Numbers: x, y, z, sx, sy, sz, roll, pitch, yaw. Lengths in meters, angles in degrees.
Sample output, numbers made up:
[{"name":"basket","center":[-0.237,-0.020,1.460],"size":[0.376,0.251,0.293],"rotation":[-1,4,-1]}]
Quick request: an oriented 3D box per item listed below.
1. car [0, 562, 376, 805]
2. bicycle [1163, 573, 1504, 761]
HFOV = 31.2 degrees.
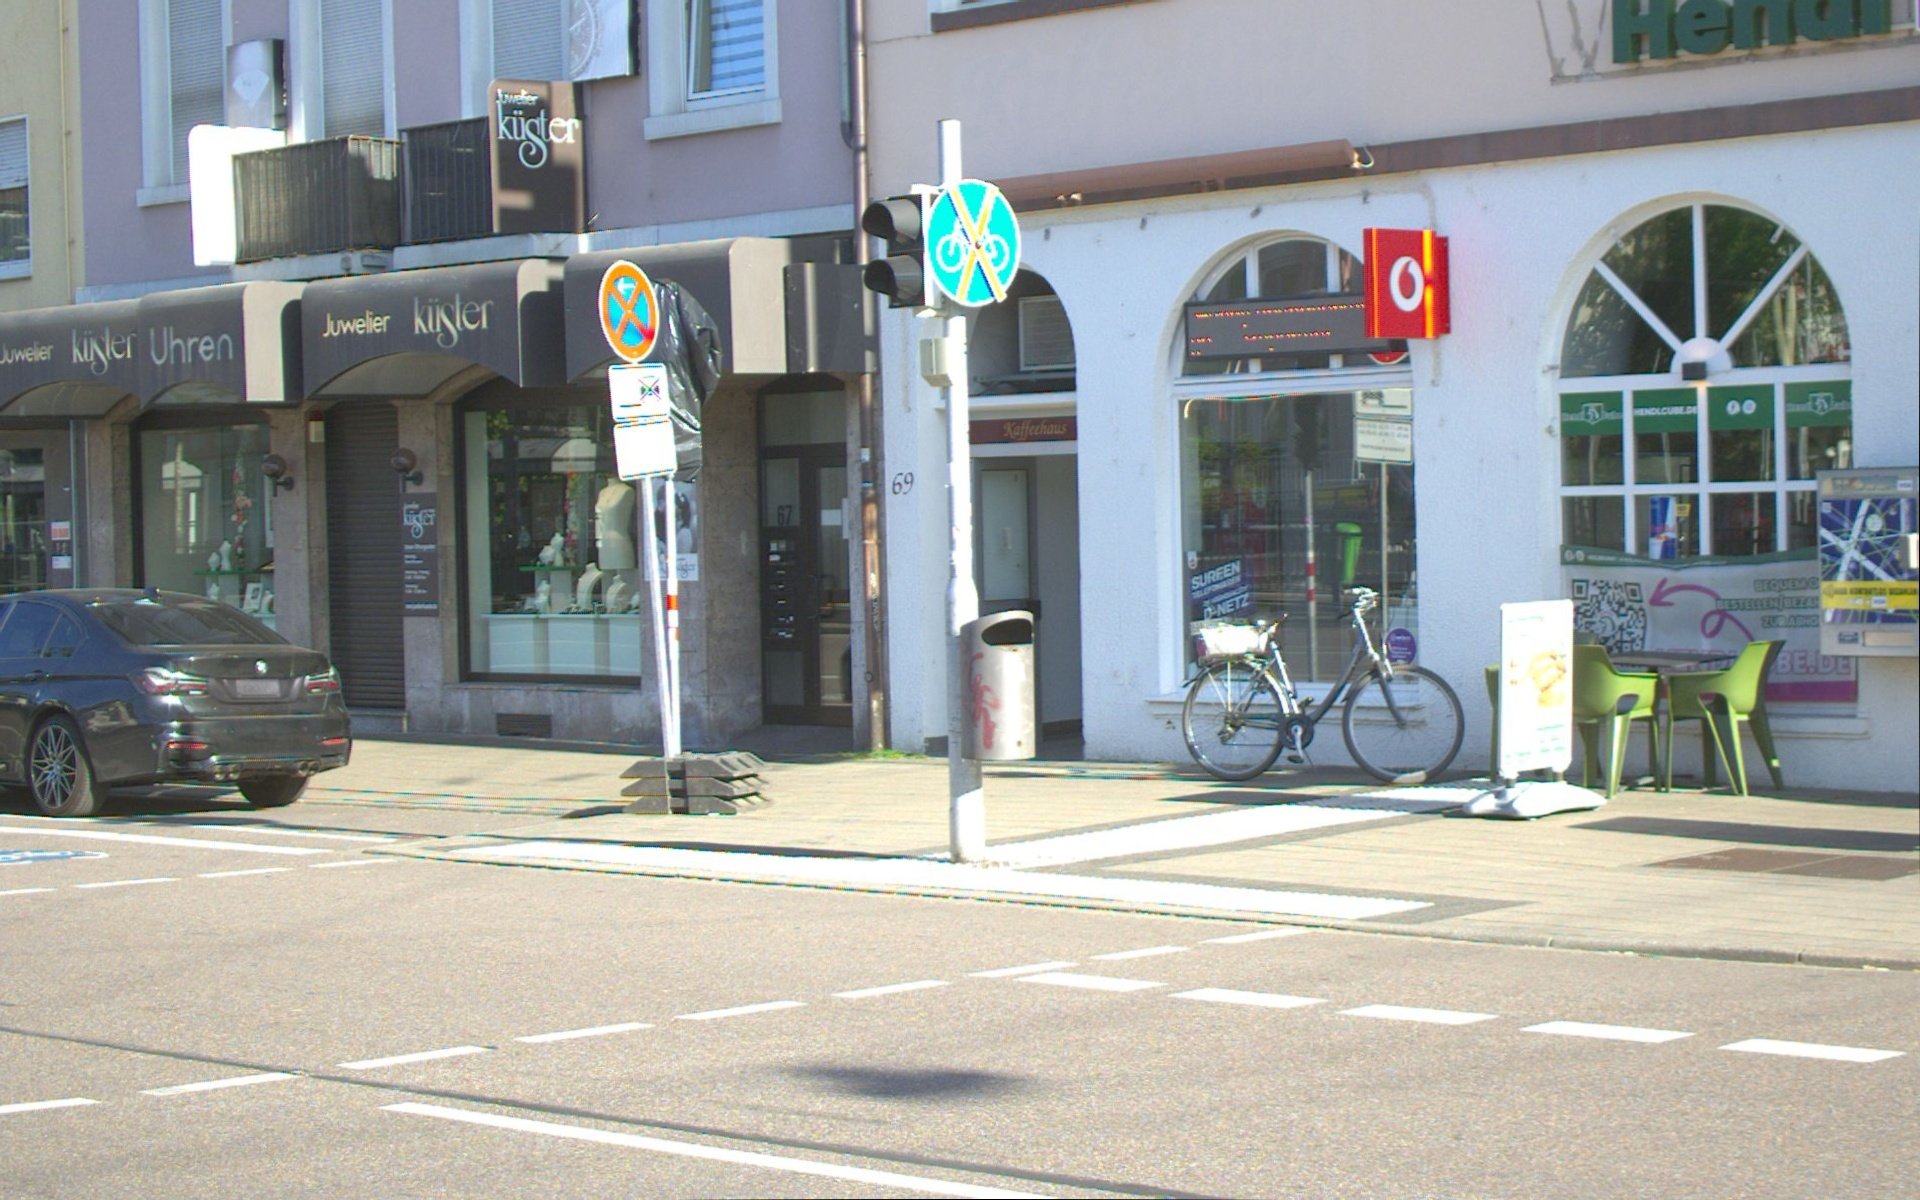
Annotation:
[{"name":"car","center":[-6.120,0.506,23.052],"size":[4.650,1.435,1.740],"rotation":[0,2,41]},{"name":"bicycle","center":[2.221,0.393,20.575],"size":[1.947,1.063,0.582],"rotation":[-1,2,34]}]
